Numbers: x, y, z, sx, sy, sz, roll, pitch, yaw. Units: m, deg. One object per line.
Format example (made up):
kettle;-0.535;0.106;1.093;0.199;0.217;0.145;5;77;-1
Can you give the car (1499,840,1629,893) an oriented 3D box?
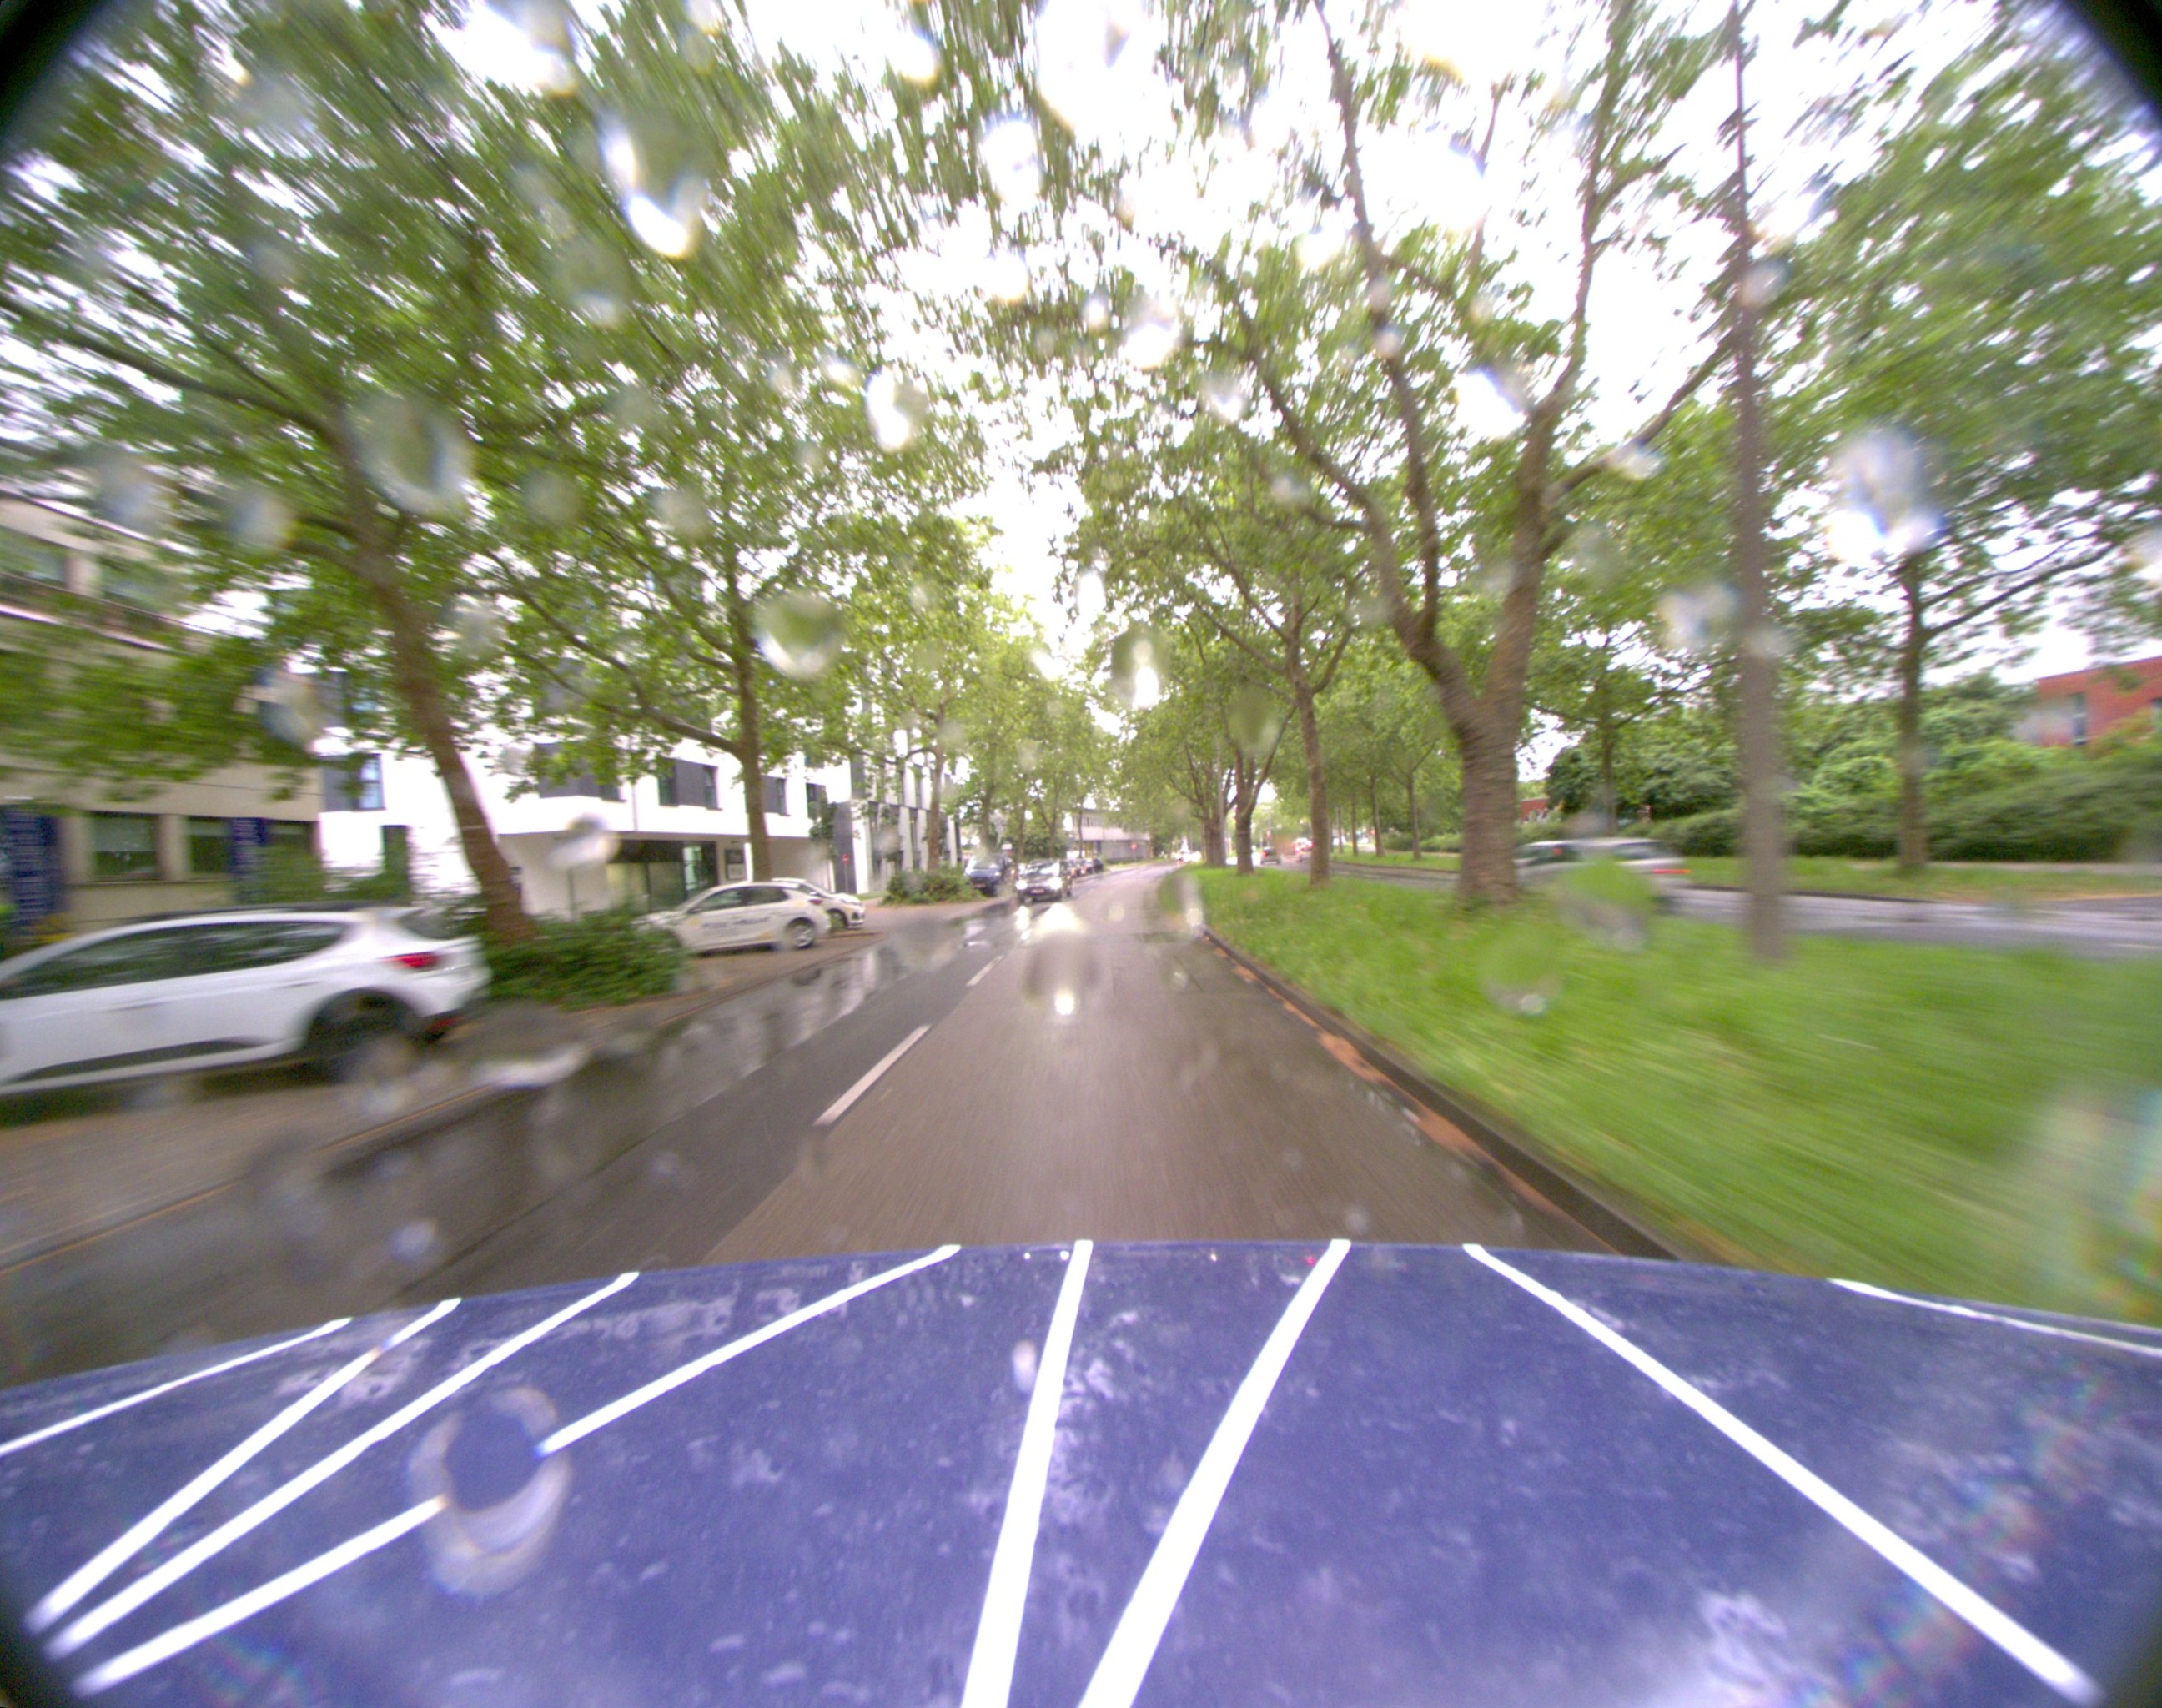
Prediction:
car;15.402;0.349;24.518;1.747;1.468;4.083;-4;0;4

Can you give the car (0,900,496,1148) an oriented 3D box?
car;-7.774;1.355;6.537;4.043;1.530;1.745;-4;1;-29

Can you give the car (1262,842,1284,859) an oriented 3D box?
car;17.882;-0.332;70.824;1.746;1.468;4.413;-3;0;12

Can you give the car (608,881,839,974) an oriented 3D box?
car;-7.305;1.420;15.759;4.043;1.420;1.745;-4;1;-27

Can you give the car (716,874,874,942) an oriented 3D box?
car;-7.493;1.385;20.248;3.647;1.495;1.748;-3;-1;-12

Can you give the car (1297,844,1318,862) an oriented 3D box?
car;21.007;-0.138;70.427;1.746;1.451;3.846;-3;0;17

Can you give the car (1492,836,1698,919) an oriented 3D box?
car;11.577;0.469;17.546;1.748;1.582;4.330;-4;0;0

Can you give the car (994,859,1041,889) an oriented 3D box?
car;-3.572;1.110;43.524;1.747;1.460;4.308;-4;0;8

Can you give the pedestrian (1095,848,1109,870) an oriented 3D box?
pedestrian;1.935;0.432;70.621;0.901;2.002;0.831;-4;1;-26

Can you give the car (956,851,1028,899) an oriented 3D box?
car;-4.245;0.932;37.350;2.125;2.016;5.530;-4;0;8

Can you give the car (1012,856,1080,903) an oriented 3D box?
car;-1.366;1.010;32.374;1.998;1.585;5.591;-4;0;6

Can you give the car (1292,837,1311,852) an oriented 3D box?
car;36.920;-1.620;127.248;2.032;2.213;5.442;-3;0;26

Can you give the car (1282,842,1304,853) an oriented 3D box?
car;38.164;-1.186;136.864;2.031;1.726;4.963;-3;1;38

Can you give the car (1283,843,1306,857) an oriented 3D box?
car;27.289;-0.565;97.055;1.745;1.552;4.375;-3;0;30

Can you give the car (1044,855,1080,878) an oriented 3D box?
car;-1.362;0.895;56.573;1.746;1.468;4.085;-4;0;11

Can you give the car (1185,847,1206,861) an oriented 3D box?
car;14.976;-0.035;99.324;1.996;1.620;4.526;-4;0;15

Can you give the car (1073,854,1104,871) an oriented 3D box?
car;0.741;0.757;69.483;1.746;1.420;4.864;-1;1;13

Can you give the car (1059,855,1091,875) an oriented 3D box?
car;-0.428;0.892;63.028;1.746;1.420;5.107;-4;0;9
